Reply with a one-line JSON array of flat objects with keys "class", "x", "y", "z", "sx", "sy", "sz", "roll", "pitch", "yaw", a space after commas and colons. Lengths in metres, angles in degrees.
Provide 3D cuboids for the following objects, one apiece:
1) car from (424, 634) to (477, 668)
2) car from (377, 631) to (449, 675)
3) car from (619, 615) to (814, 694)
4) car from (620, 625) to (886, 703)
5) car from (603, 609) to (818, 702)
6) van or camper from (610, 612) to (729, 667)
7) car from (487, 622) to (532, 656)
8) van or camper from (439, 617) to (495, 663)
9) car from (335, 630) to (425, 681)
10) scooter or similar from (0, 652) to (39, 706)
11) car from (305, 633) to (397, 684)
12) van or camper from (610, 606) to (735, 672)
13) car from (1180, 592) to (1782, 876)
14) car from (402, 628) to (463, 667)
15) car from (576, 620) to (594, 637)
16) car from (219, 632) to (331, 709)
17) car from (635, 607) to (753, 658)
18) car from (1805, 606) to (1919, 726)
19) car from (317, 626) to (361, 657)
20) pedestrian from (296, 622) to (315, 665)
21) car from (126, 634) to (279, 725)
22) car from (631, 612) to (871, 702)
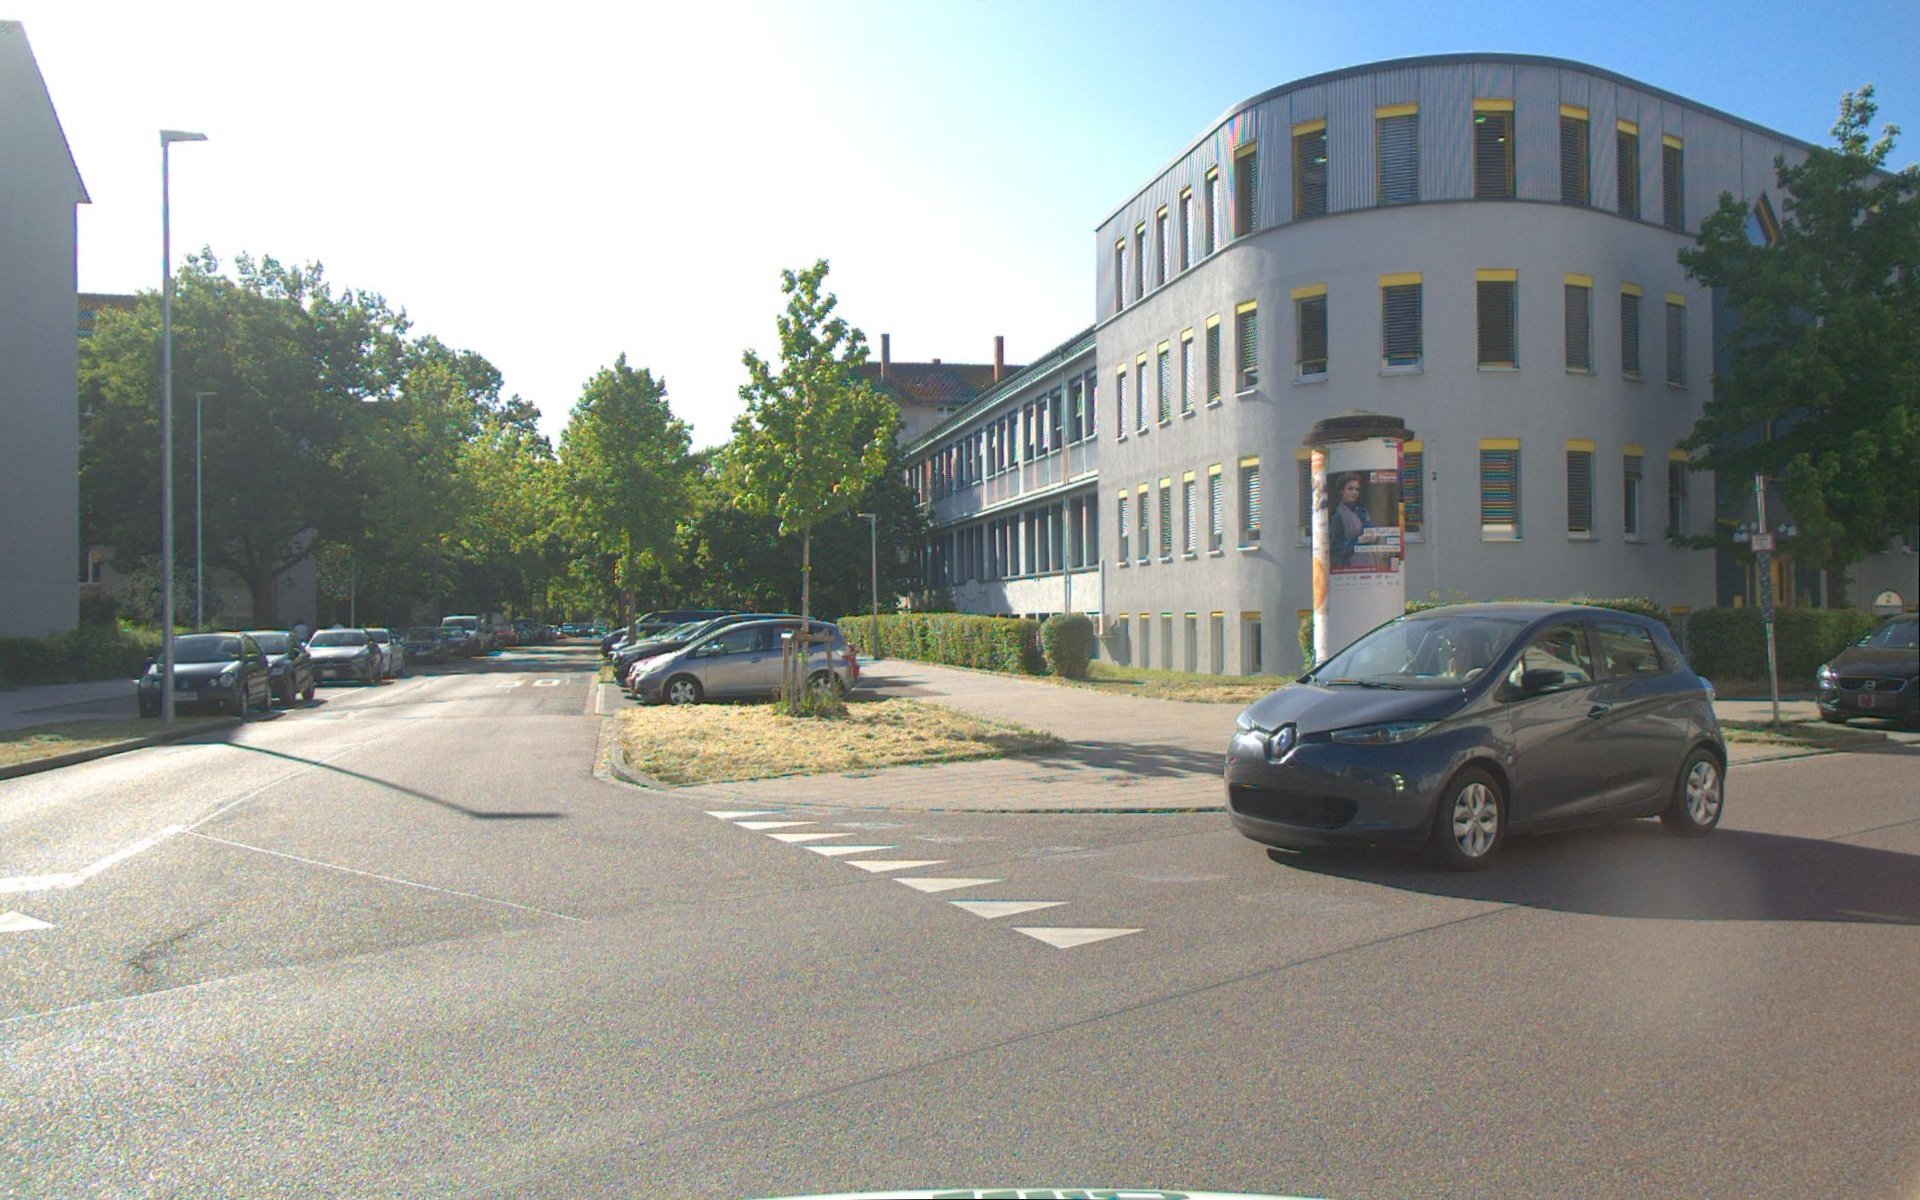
[{"class": "car", "x": -22.202, "y": 2.203, "z": 72.192, "sx": 1.810, "sy": 1.423, "sz": 3.988, "roll": 0, "pitch": -1, "yaw": -11}, {"class": "car", "x": -18.572, "y": 1.803, "z": 56.315, "sx": 1.810, "sy": 1.423, "sz": 3.988, "roll": 0, "pitch": -1, "yaw": -11}, {"class": "car", "x": -5.482, "y": 1.225, "z": 37.069, "sx": 4.132, "sy": 1.624, "sz": 1.993, "roll": 2, "pitch": -2, "yaw": -14}, {"class": "car", "x": -3.923, "y": 1.177, "z": 31.270, "sx": 4.791, "sy": 1.297, "sz": 1.721, "roll": -1, "pitch": -1, "yaw": -17}, {"class": "car", "x": -5.202, "y": 1.155, "z": 34.254, "sx": 4.207, "sy": 1.796, "sz": 1.992, "roll": 2, "pitch": -2, "yaw": -15}, {"class": "van or camper", "x": -10.043, "y": 1.369, "z": 57.063, "sx": 3.917, "sy": 1.803, "sz": 1.993, "roll": 2, "pitch": -2, "yaw": -13}, {"class": "car", "x": -28.637, "y": 2.485, "z": 105.200, "sx": 1.954, "sy": 2.049, "sz": 3.996, "roll": 1, "pitch": -2, "yaw": -4}, {"class": "van or camper", "x": -23.315, "y": 1.915, "z": 78.378, "sx": 1.957, "sy": 2.049, "sz": 3.991, "roll": 2, "pitch": -2, "yaw": -9}, {"class": "car", "x": -17.181, "y": 1.620, "z": 49.141, "sx": 1.958, "sy": 1.423, "sz": 3.988, "roll": 0, "pitch": -1, "yaw": -11}, {"class": "scooter or similar", "x": -20.151, "y": 1.660, "z": 34.985, "sx": 0.521, "sy": 1.064, "sz": 1.867, "roll": -1, "pitch": -1, "yaw": -8}, {"class": "car", "x": -15.908, "y": 1.517, "z": 43.398, "sx": 1.600, "sy": 1.256, "sz": 4.180, "roll": 2, "pitch": -2, "yaw": -12}, {"class": "van or camper", "x": -9.459, "y": 1.299, "z": 54.322, "sx": 3.917, "sy": 2.049, "sz": 1.993, "roll": 2, "pitch": -2, "yaw": -13}, {"class": "car", "x": 3.537, "y": 0.771, "z": 10.926, "sx": 4.094, "sy": 1.530, "sz": 1.818, "roll": 1, "pitch": -2, "yaw": -38}, {"class": "car", "x": -20.598, "y": 1.846, "z": 64.699, "sx": 1.960, "sy": 1.433, "sz": 3.893, "roll": 2, "pitch": -2, "yaw": -14}, {"class": "car", "x": -41.970, "y": 3.181, "z": 185.196, "sx": 1.959, "sy": 1.778, "sz": 3.987, "roll": 0, "pitch": 0, "yaw": -12}, {"class": "car", "x": -13.808, "y": 1.377, "z": 33.528, "sx": 1.381, "sy": 1.400, "sz": 3.987, "roll": -1, "pitch": 0, "yaw": -12}, {"class": "car", "x": -10.018, "y": 1.212, "z": 62.199, "sx": 4.207, "sy": 1.729, "sz": 1.992, "roll": -2, "pitch": -1, "yaw": -15}, {"class": "car", "x": 12.957, "y": 0.809, "z": 21.793, "sx": 4.183, "sy": 1.435, "sz": 1.769, "roll": 0, "pitch": 0, "yaw": -40}, {"class": "car", "x": -25.957, "y": 1.727, "z": 69.166, "sx": 1.251, "sy": 1.246, "sz": 2.656, "roll": -1, "pitch": 0, "yaw": -10}, {"class": "pedestrian", "x": -26.004, "y": 1.712, "z": 65.748, "sx": 0.624, "sy": 1.694, "sz": 0.696, "roll": 0, "pitch": -1, "yaw": -18}, {"class": "car", "x": -13.107, "y": 1.348, "z": 28.825, "sx": 1.639, "sy": 1.445, "sz": 3.985, "roll": 2, "pitch": -2, "yaw": -14}, {"class": "car", "x": -3.715, "y": 0.991, "z": 29.238, "sx": 4.021, "sy": 1.518, "sz": 1.721, "roll": 0, "pitch": -2, "yaw": -15}]
